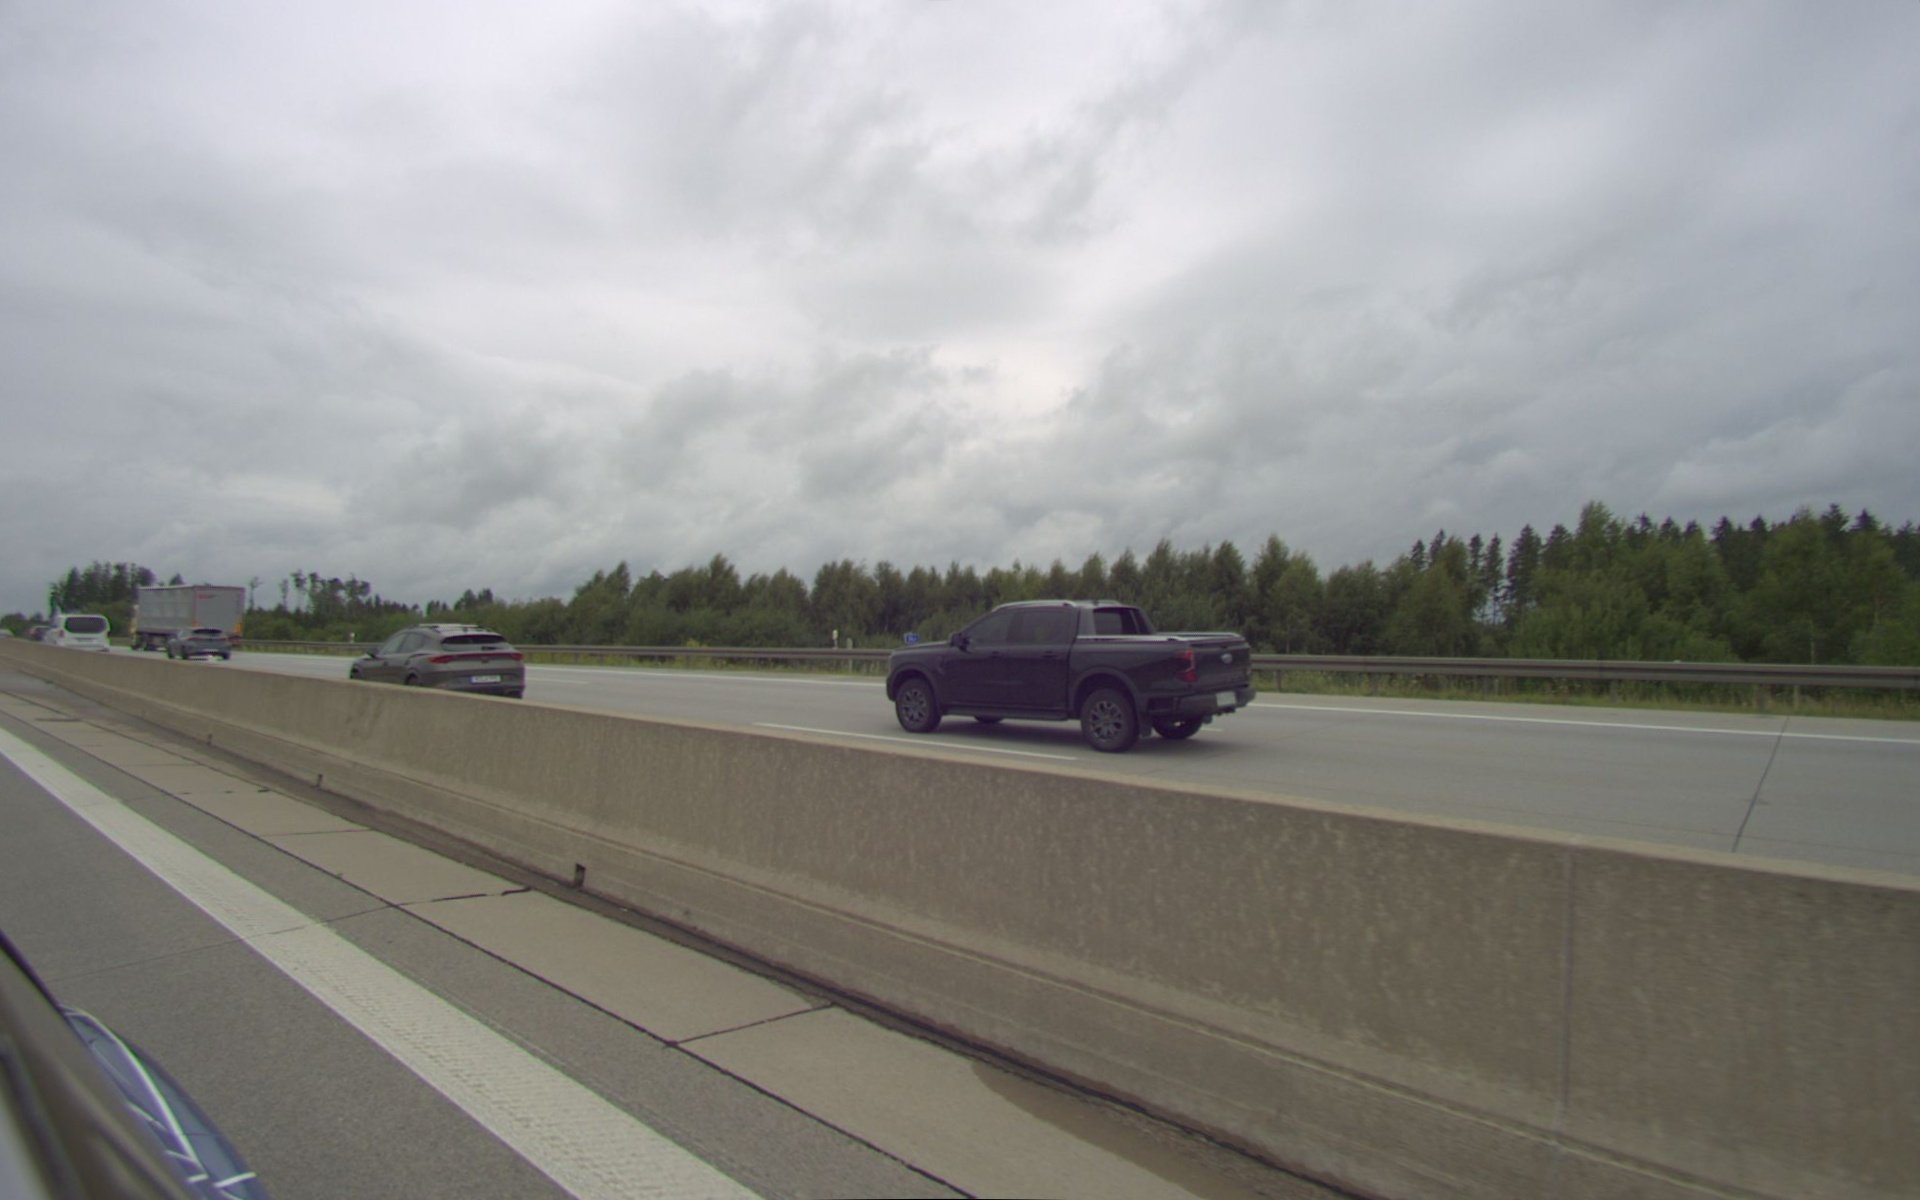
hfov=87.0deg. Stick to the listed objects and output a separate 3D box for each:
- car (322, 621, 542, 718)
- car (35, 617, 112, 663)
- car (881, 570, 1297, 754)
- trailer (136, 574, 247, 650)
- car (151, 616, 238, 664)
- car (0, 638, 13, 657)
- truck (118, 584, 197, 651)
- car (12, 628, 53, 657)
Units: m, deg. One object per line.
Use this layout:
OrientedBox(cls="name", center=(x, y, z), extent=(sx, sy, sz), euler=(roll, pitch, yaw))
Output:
OrientedBox(cls="car", center=(-9.540, 1.224, 18.164), extent=(4.394, 1.531, 1.973), euler=(-3, -4, 40))
OrientedBox(cls="car", center=(-41.553, 1.921, 47.381), extent=(5.921, 2.029, 1.894), euler=(-3, -4, 41))
OrientedBox(cls="car", center=(1.506, 0.810, 13.499), extent=(5.328, 1.989, 1.972), euler=(-3, -5, 42))
OrientedBox(cls="trailer", center=(-47.453, 0.930, 62.305), extent=(11.865, 4.250, 2.888), euler=(-3, -4, 41))
OrientedBox(cls="car", center=(-34.562, 1.851, 45.618), extent=(5.921, 2.029, 1.894), euler=(-3, -4, 41))
OrientedBox(cls="car", center=(-87.926, 4.334, 91.974), extent=(5.263, 1.679, 2.014), euler=(-2, -4, 39))
OrientedBox(cls="truck", center=(-53.620, 1.255, 67.600), extent=(5.852, 4.212, 2.902), euler=(-3, -4, 40))
OrientedBox(cls="car", center=(-68.619, 3.171, 74.873), extent=(3.996, 2.029, 1.629), euler=(-3, -4, 40))
